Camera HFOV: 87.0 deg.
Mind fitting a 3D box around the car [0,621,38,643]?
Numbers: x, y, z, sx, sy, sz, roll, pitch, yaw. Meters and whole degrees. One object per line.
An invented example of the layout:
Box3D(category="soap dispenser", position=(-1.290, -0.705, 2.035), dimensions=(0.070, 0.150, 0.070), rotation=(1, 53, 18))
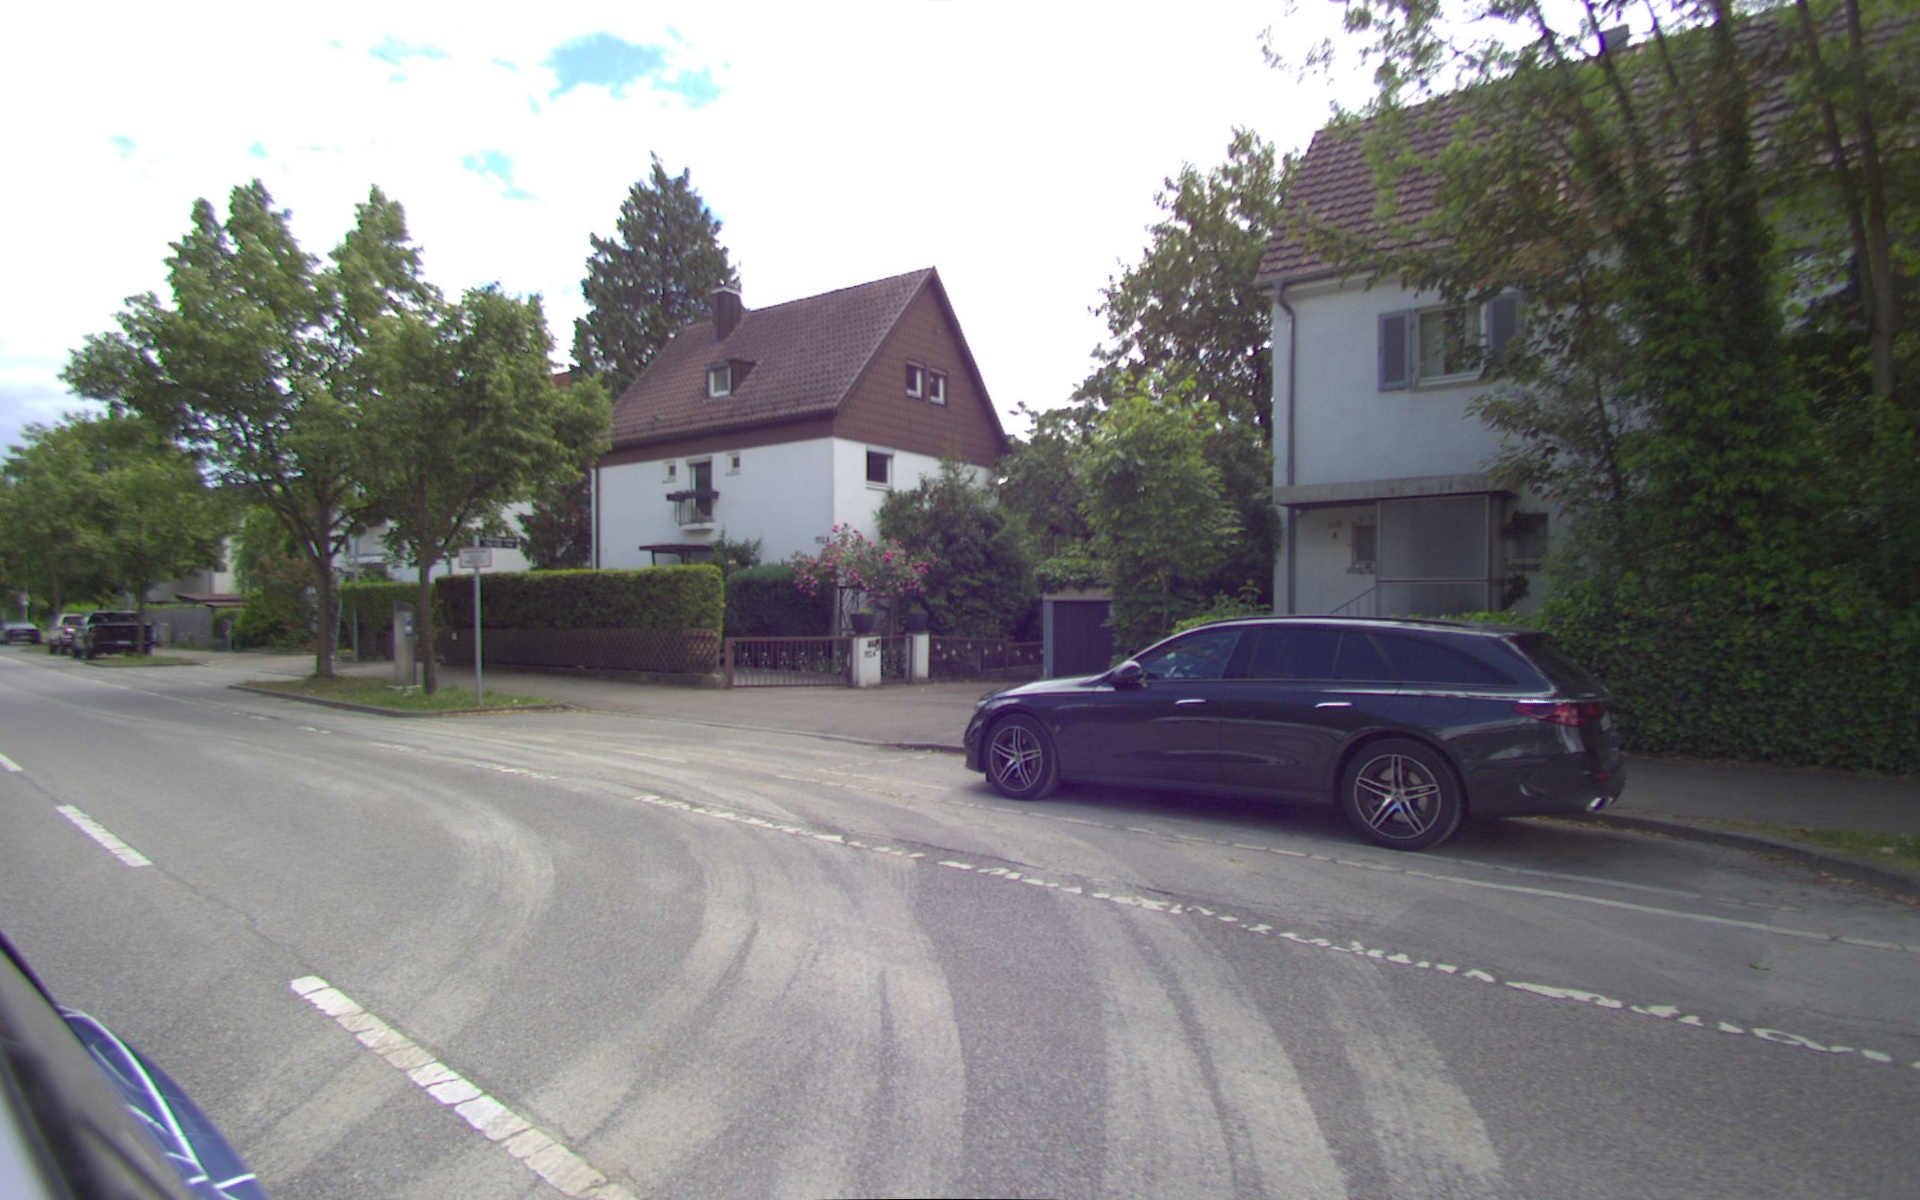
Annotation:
Box3D(category="car", position=(-61.171, 2.051, 65.499), dimensions=(4.926, 1.419, 1.727), rotation=(-1, -2, 42))

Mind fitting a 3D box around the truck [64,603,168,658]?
Box3D(category="truck", position=(-34.269, 1.184, 41.032), dimensions=(5.993, 2.059, 2.397), rotation=(-1, -1, 42))

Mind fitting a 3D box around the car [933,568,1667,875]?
Box3D(category="car", position=(2.371, 0.730, 7.895), dimensions=(5.032, 1.659, 2.075), rotation=(-1, -2, 38))

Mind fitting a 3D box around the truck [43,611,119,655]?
Box3D(category="truck", position=(-39.960, 1.482, 45.944), dimensions=(5.664, 1.882, 1.945), rotation=(-1, -2, 43))
